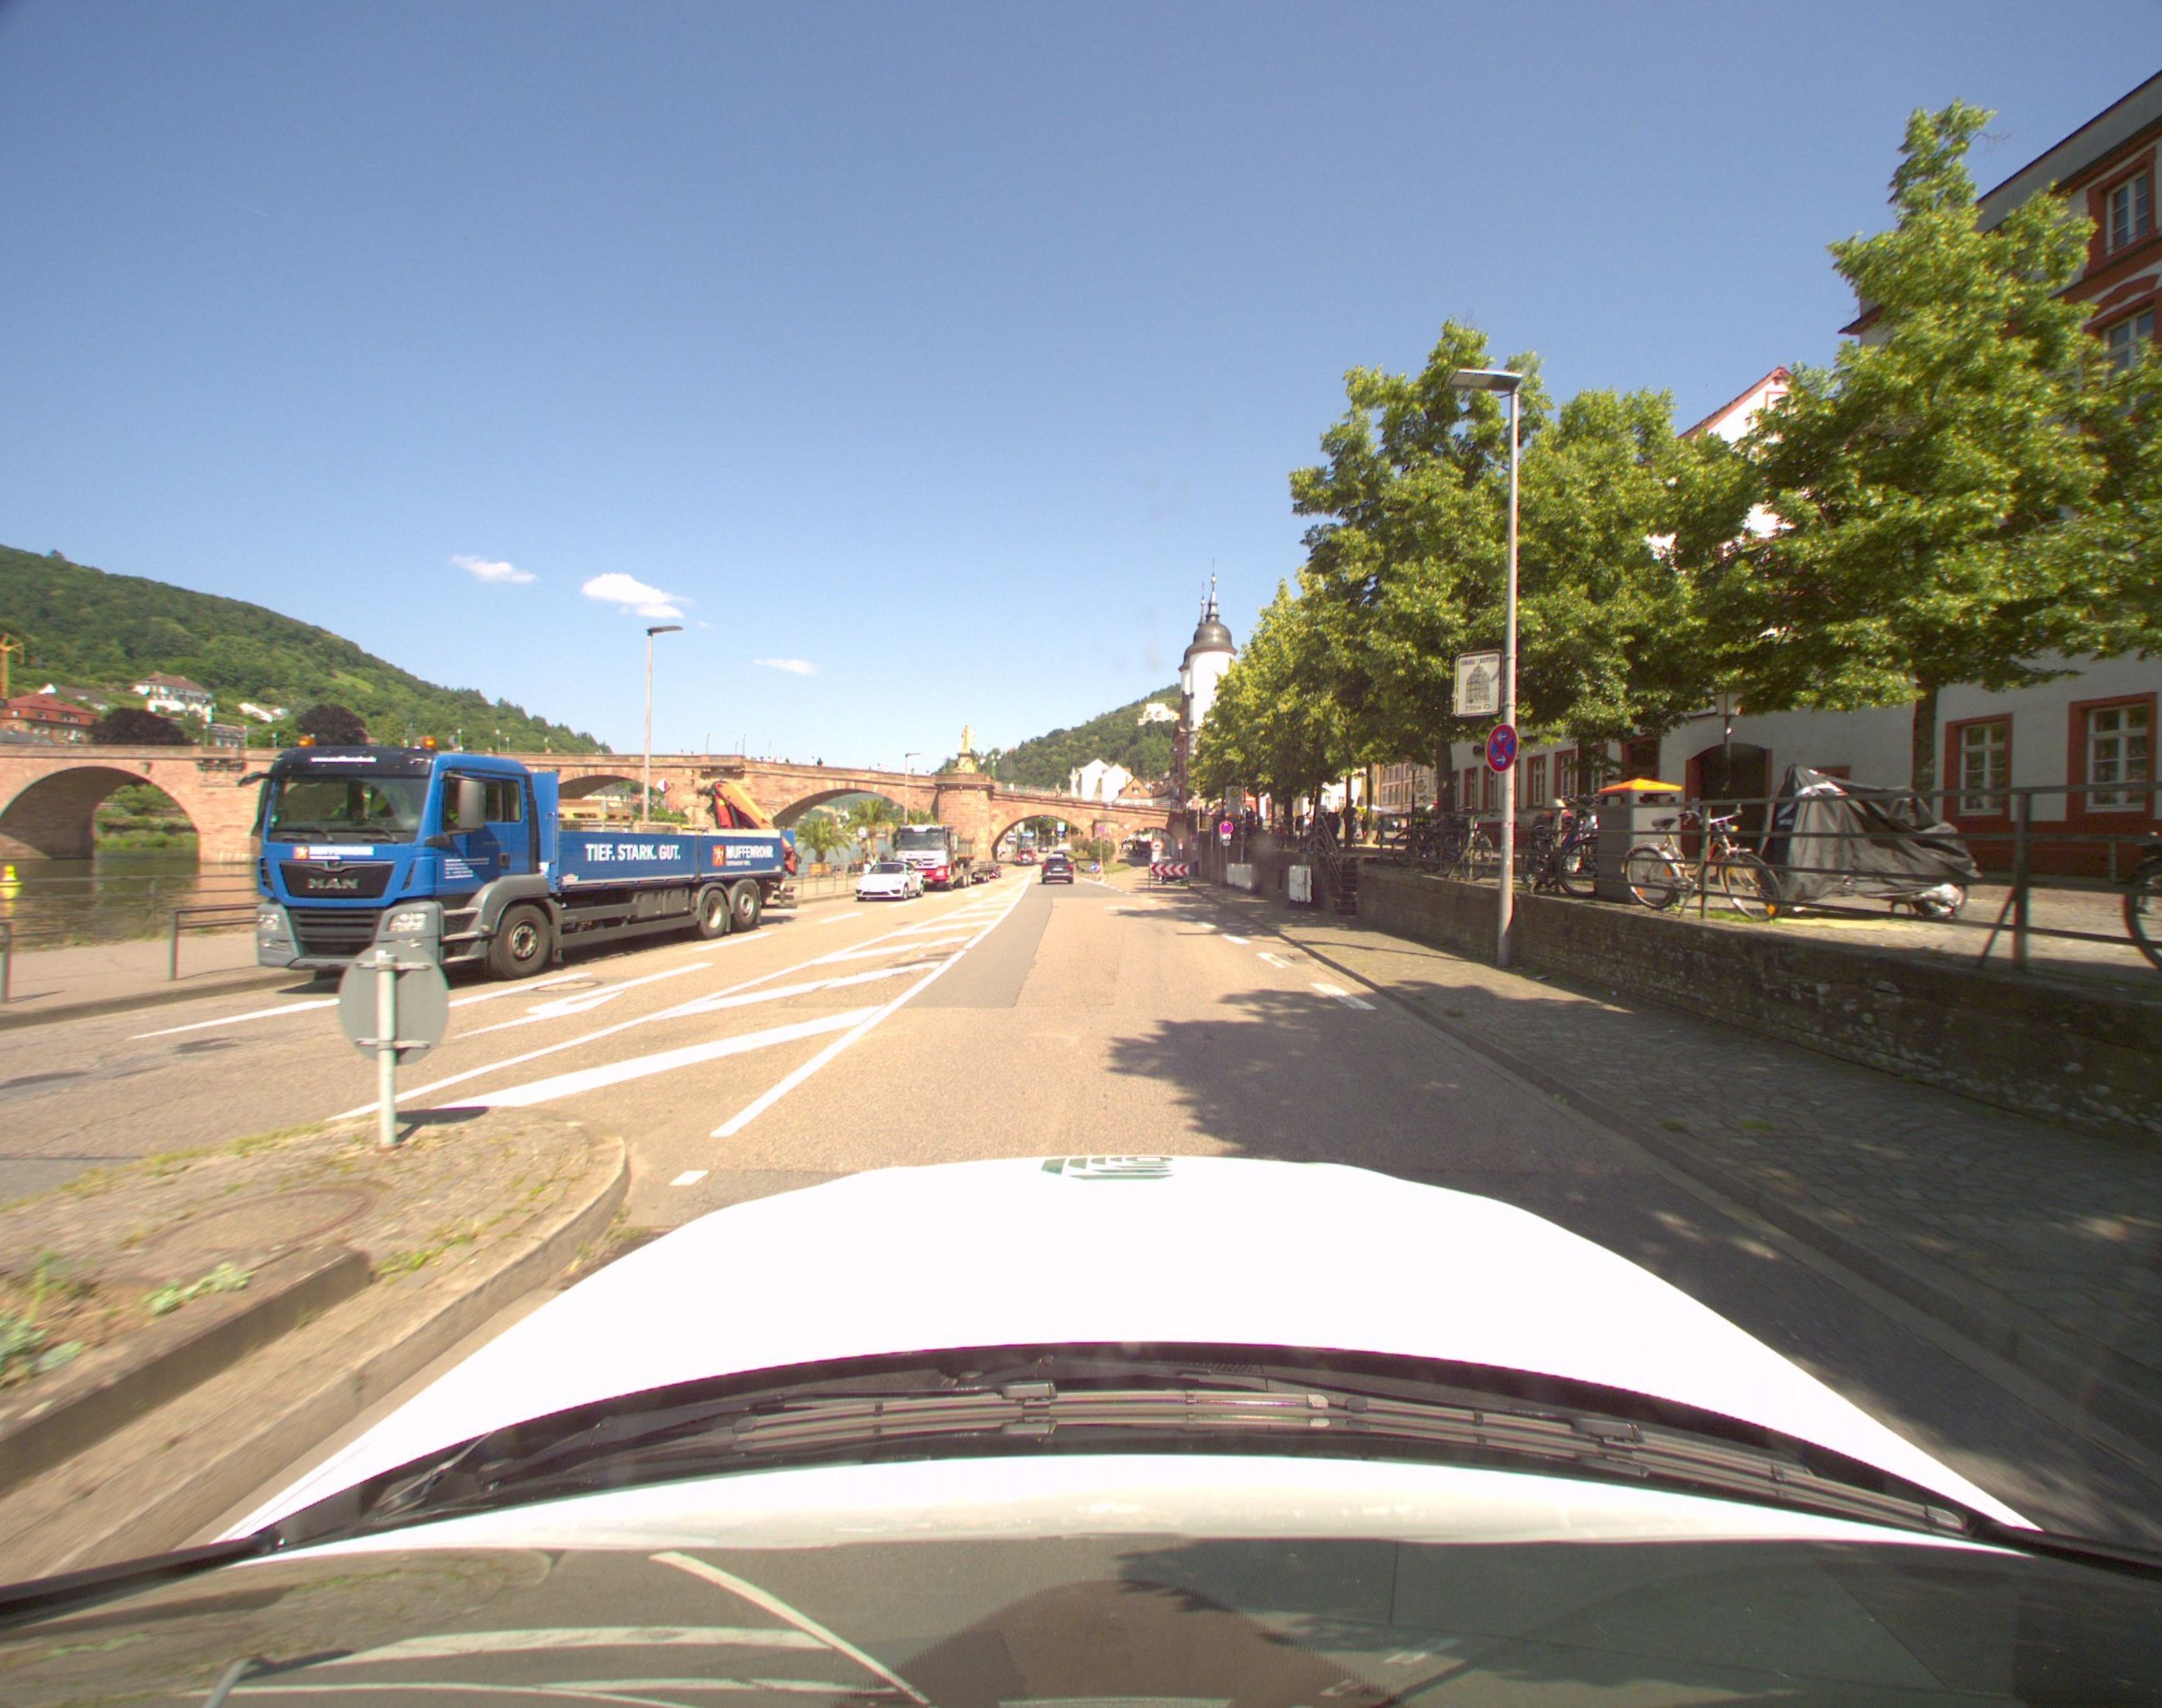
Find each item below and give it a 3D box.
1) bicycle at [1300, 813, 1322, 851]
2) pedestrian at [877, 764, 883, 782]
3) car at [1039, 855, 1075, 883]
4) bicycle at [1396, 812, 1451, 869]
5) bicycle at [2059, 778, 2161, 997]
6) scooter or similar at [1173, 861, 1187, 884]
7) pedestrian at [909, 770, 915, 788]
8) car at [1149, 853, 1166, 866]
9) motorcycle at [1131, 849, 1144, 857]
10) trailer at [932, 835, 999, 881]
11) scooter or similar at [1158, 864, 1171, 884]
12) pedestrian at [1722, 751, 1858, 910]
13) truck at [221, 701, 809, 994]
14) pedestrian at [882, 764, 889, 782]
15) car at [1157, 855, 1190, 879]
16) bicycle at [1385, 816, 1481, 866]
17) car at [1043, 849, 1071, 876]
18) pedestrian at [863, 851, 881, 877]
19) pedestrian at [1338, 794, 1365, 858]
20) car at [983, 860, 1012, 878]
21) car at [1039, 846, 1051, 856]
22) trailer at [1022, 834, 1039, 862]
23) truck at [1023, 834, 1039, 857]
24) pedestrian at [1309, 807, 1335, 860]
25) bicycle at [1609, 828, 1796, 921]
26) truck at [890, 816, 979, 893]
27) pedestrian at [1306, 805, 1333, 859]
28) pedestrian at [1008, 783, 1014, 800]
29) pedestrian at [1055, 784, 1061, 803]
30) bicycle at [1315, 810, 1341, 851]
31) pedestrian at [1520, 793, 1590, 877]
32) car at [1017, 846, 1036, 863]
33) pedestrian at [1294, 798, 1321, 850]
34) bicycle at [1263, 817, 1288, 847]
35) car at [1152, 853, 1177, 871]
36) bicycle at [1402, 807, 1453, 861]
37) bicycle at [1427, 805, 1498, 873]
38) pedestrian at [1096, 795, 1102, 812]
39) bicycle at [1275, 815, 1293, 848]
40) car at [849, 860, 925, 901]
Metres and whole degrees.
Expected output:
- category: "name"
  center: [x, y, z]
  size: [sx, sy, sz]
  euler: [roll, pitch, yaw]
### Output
- category: "bicycle"
  center: [6.960, -0.643, 24.702]
  size: [0.408, 1.106, 1.738]
  euler: [0, 0, 7]
- category: "pedestrian"
  center: [-22.663, -9.113, 91.729]
  size: [0.623, 2.013, 0.693]
  euler: [0, 0, -8]
- category: "car"
  center: [-1.339, 0.817, 46.784]
  size: [1.850, 1.524, 4.000]
  euler: [0, 0, 1]
- category: "bicycle"
  center: [6.370, -0.254, 15.208]
  size: [0.297, 1.004, 1.861]
  euler: [0, 1, 2]
- category: "bicycle"
  center: [5.593, 0.172, 3.636]
  size: [0.342, 1.112, 1.922]
  euler: [0, 0, 7]
- category: "scooter or similar"
  center: [5.341, 0.992, 44.038]
  size: [0.527, 1.230, 1.277]
  euler: [0, 0, 16]
- category: "pedestrian"
  center: [-19.081, -8.474, 91.910]
  size: [0.623, 2.013, 0.693]
  euler: [0, 0, -8]
- category: "car"
  center: [9.526, 0.623, 101.770]
  size: [1.886, 1.492, 4.419]
  euler: [0, 1, 2]
- category: "motorcycle"
  center: [9.020, -0.210, 130.547]
  size: [2.209, 1.267, 0.621]
  euler: [-1, 2, -39]
- category: "trailer"
  center: [-6.846, 0.270, 49.198]
  size: [2.687, 2.531, 6.951]
  euler: [-1, 0, 2]
- category: "scooter or similar"
  center: [4.534, 1.069, 44.089]
  size: [0.528, 1.089, 1.443]
  euler: [0, 0, 12]
- category: "pedestrian"
  center: [6.588, -0.210, 7.601]
  size: [0.665, 1.415, 0.697]
  euler: [0, 0, 1]
- category: "truck"
  center: [-8.645, -0.096, 15.282]
  size: [2.630, 3.476, 11.119]
  euler: [0, 0, 4]
- category: "pedestrian"
  center: [-22.064, -9.117, 91.912]
  size: [0.623, 2.013, 0.693]
  euler: [0, 0, -8]
- category: "car"
  center: [5.865, 0.815, 52.062]
  size: [1.835, 1.450, 4.538]
  euler: [0, 0, 3]
- category: "bicycle"
  center: [7.196, -0.266, 16.652]
  size: [1.848, 1.004, 0.299]
  euler: [0, 1, -1]
- category: "car"
  center: [-1.830, 0.651, 63.383]
  size: [1.987, 2.013, 4.000]
  euler: [0, 0, 0]
- category: "pedestrian"
  center: [-13.470, 0.634, 52.547]
  size: [0.836, 1.691, 0.801]
  euler: [1, 1, 44]
- category: "pedestrian"
  center: [9.355, -0.956, 28.162]
  size: [0.715, 2.189, 0.712]
  euler: [0, 0, 2]
- category: "car"
  center: [-6.045, 1.042, 59.257]
  size: [1.666, 1.194, 3.628]
  euler: [-1, 0, 0]
- category: "car"
  center: [-6.404, -0.518, 144.064]
  size: [1.854, 1.662, 3.990]
  euler: [-1, 0, -7]
- category: "trailer"
  center: [-6.013, -0.717, 97.490]
  size: [1.736, 3.320, 3.384]
  euler: [-1, 0, 1]
- category: "truck"
  center: [-8.521, -1.443, 139.097]
  size: [2.517, 3.748, 6.242]
  euler: [-1, 2, -2]
- category: "pedestrian"
  center: [8.014, -0.670, 27.080]
  size: [0.715, 1.721, 0.573]
  euler: [0, 0, 2]
- category: "bicycle"
  center: [5.868, 0.162, 7.830]
  size: [0.348, 0.784, 1.919]
  euler: [0, 1, 0]
- category: "truck"
  center: [-7.161, 0.027, 40.924]
  size: [2.631, 3.457, 7.876]
  euler: [-1, 0, 2]
- category: "pedestrian"
  center: [7.745, -0.715, 26.463]
  size: [0.715, 1.721, 0.573]
  euler: [0, 0, 2]
- category: "pedestrian"
  center: [-8.225, -7.322, 95.692]
  size: [0.579, 2.013, 0.586]
  euler: [0, 0, -1]
- category: "pedestrian"
  center: [-2.635, -6.843, 92.175]
  size: [0.621, 2.013, 0.695]
  euler: [0, 0, 0]
- category: "bicycle"
  center: [6.961, -0.636, 23.008]
  size: [0.408, 1.106, 1.928]
  euler: [0, 0, 7]
- category: "pedestrian"
  center: [7.305, -0.288, 12.577]
  size: [0.692, 1.265, 0.669]
  euler: [0, 0, -2]
- category: "car"
  center: [-6.132, 0.032, 91.971]
  size: [1.868, 1.827, 4.544]
  euler: [-1, 1, 0]
- category: "pedestrian"
  center: [7.696, -1.008, 27.709]
  size: [0.715, 1.721, 0.712]
  euler: [0, 0, 2]
- category: "bicycle"
  center: [7.344, -0.825, 30.826]
  size: [0.409, 1.106, 1.732]
  euler: [-1, 0, -5]
- category: "car"
  center: [6.814, 0.637, 66.490]
  size: [1.705, 1.457, 3.547]
  euler: [0, 0, 0]
- category: "bicycle"
  center: [7.777, -0.439, 18.341]
  size: [0.380, 1.140, 1.935]
  euler: [0, 1, 2]
- category: "bicycle"
  center: [6.083, -0.244, 13.077]
  size: [0.297, 1.004, 1.942]
  euler: [0, 1, 2]
- category: "pedestrian"
  center: [2.203, -6.017, 97.587]
  size: [0.682, 2.013, 0.586]
  euler: [0, 0, -1]
- category: "bicycle"
  center: [7.181, -0.782, 28.852]
  size: [0.408, 1.106, 1.738]
  euler: [-1, 0, 7]
- category: "car"
  center: [-7.310, 0.951, 31.094]
  size: [1.770, 1.444, 4.000]
  euler: [0, 0, 3]
